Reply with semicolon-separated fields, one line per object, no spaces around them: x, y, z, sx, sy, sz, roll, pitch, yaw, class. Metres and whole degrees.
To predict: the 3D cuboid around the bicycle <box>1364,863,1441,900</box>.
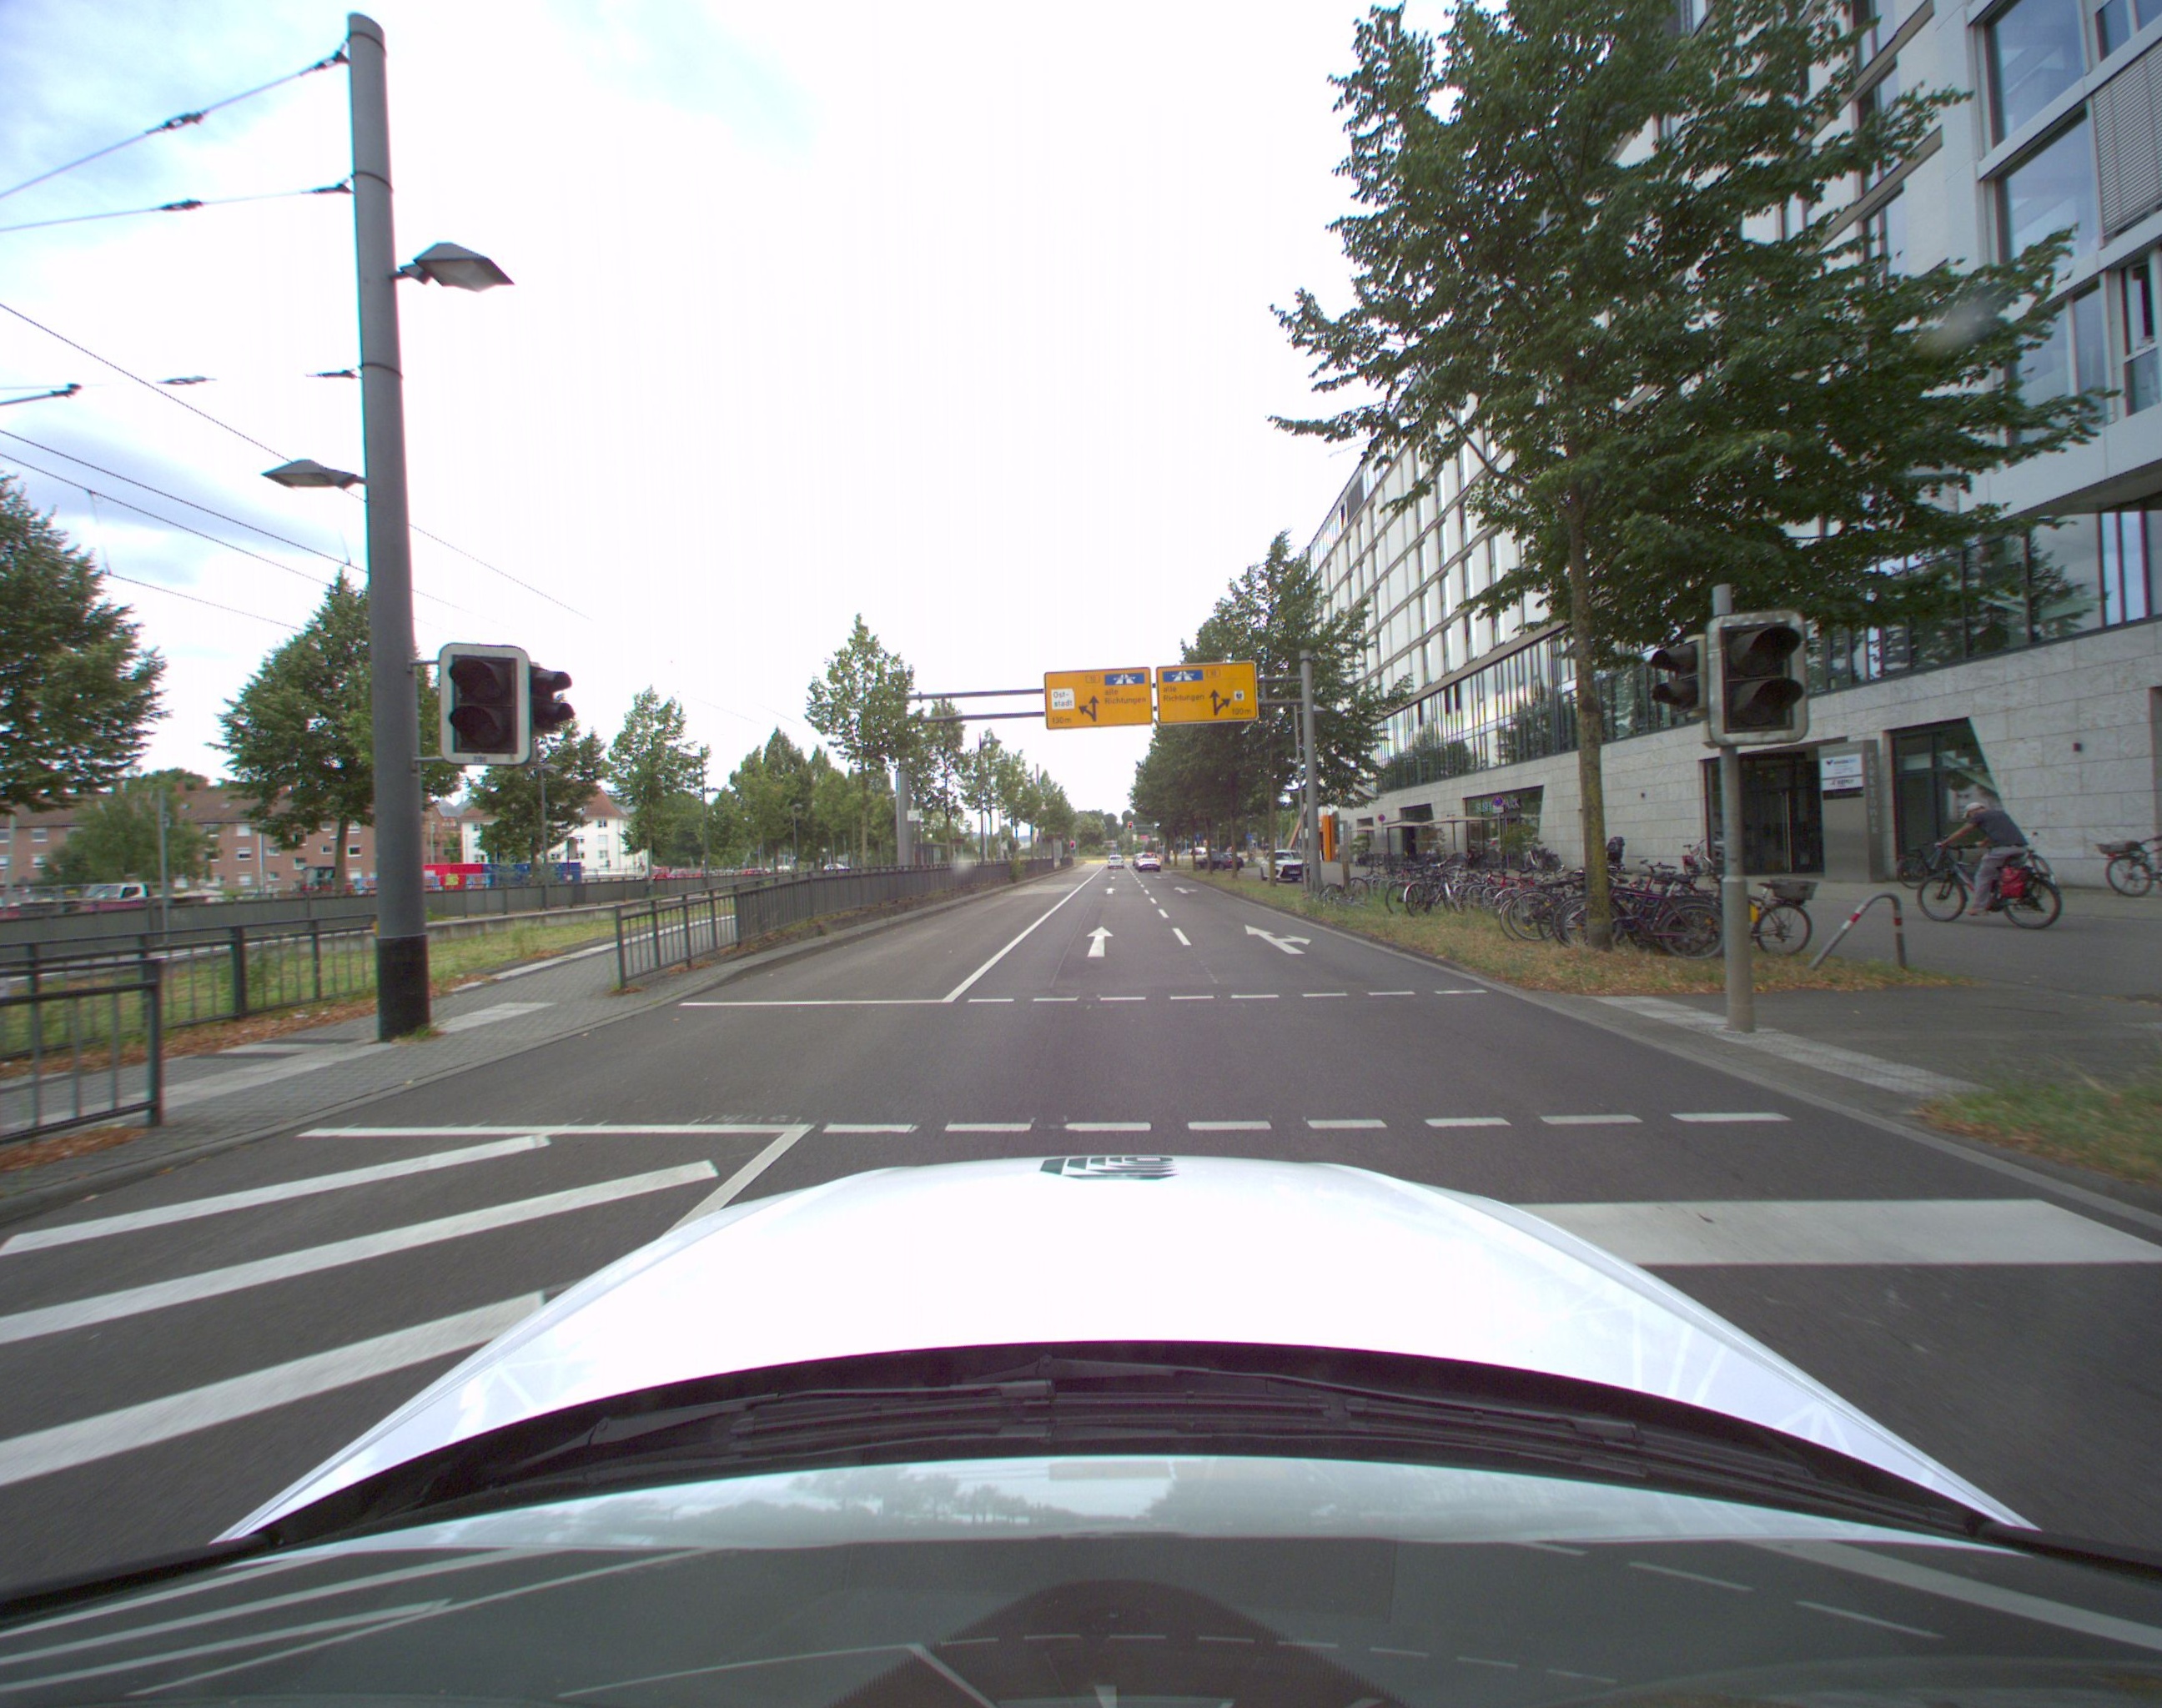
8.782;0.751;22.272;1.855;0.951;0.612;1;0;-1;bicycle

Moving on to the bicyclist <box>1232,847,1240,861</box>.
20.485;0.048;107.501;0.863;1.789;1.175;-2;0;1;bicyclist

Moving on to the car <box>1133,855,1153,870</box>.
6.427;0.879;84.409;1.781;1.432;4.311;-2;0;1;car

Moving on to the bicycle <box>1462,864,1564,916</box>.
8.424;0.692;15.911;1.712;0.974;0.608;1;0;-6;bicycle

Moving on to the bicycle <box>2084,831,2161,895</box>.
18.282;0.142;13.949;1.524;1.026;0.533;-3;-1;-1;bicycle

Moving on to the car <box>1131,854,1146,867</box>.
7.057;0.789;100.125;1.619;1.448;3.911;-1;0;1;car

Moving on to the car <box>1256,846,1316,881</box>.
10.045;0.456;40.261;1.931;1.552;4.595;-2;0;2;car

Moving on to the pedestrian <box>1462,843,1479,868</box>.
19.638;0.077;41.048;0.712;1.192;0.763;-3;0;24;pedestrian

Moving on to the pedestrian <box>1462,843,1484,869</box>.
19.013;0.090;39.514;0.766;1.192;1.111;-3;0;17;pedestrian

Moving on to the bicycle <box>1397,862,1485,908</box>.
8.610;0.749;19.512;1.927;1.065;0.542;1;0;-7;bicycle

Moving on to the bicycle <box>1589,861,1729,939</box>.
8.318;0.650;11.752;1.663;1.090;0.525;0;0;-1;bicycle

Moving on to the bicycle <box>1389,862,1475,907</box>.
8.646;0.753;20.091;1.927;1.065;0.542;1;0;-7;bicycle

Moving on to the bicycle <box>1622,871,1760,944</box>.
8.230;0.713;11.017;1.524;0.953;0.484;0;0;-1;bicycle

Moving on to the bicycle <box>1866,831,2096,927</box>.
13.409;0.349;12.281;0.899;1.235;2.269;-5;0;1;bicycle

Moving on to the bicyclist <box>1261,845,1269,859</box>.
21.349;-0.241;94.542;0.721;1.582;0.990;-2;0;3;bicyclist

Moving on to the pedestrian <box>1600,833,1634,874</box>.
18.991;-0.005;28.869;0.752;1.407;0.723;-3;0;9;pedestrian

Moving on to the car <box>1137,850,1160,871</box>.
5.743;0.549;69.796;1.771;1.656;4.026;-3;0;3;car

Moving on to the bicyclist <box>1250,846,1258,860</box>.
20.170;-0.097;95.188;0.722;1.582;0.990;-2;0;2;bicyclist

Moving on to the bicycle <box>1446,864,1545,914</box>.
8.417;0.699;16.562;1.741;0.974;0.608;1;0;-6;bicycle

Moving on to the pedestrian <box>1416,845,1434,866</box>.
20.100;0.107;47.604;0.716;1.192;0.759;-3;0;1;pedestrian

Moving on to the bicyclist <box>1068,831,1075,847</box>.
-1.252;-1.872;103.625;0.727;1.882;0.734;-4;14;-6;bicyclist

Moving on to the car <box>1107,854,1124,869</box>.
3.740;0.801;89.162;1.767;1.448;3.911;-2;0;1;car

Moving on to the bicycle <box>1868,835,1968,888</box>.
18.100;0.158;17.621;1.593;1.026;0.533;-3;0;-1;bicycle

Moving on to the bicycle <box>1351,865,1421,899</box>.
8.888;0.806;23.760;1.855;0.951;0.501;1;0;-1;bicycle

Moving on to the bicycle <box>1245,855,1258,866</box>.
15.702;0.574;74.956;0.628;0.956;2.106;-2;0;-2;bicycle

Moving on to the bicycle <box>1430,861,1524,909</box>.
8.454;0.660;17.401;1.741;0.974;0.608;1;0;-6;bicycle

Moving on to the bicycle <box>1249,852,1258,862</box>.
20.187;0.344;95.368;0.670;1.143;2.008;-2;0;3;bicycle

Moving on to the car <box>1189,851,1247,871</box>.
11.114;0.613;66.353;1.954;1.475;4.820;-2;0;-32;car

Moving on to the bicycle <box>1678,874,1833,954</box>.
8.456;0.741;10.239;1.524;0.953;0.552;0;0;-1;bicycle

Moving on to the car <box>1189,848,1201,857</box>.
24.209;-0.268;173.002;1.988;1.791;3.998;0;-1;-1;car

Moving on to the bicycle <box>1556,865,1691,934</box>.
8.361;0.681;12.581;1.770;1.012;0.609;0;0;-6;bicycle

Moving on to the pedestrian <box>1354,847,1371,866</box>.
19.453;0.171;56.248;0.893;1.228;0.952;-3;0;7;pedestrian

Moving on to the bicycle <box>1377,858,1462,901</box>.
8.634;0.649;20.823;1.924;1.065;0.641;1;0;-1;bicycle

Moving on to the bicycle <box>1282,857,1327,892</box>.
7.439;0.657;27.221;0.709;1.115;2.199;1;0;-5;bicycle

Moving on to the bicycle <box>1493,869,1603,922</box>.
8.368;0.732;14.617;1.712;0.906;0.587;1;0;-6;bicycle

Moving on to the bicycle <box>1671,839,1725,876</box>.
18.920;0.097;24.961;1.605;1.026;0.605;-3;0;-25;bicycle

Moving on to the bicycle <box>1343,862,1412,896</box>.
8.892;0.741;24.427;1.855;0.995;0.574;1;0;-1;bicycle

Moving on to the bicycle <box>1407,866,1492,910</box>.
8.525;0.788;18.867;1.741;0.974;0.608;1;0;-6;bicycle

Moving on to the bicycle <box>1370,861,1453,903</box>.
8.740;0.735;21.580;1.924;1.065;0.705;1;0;-1;bicycle

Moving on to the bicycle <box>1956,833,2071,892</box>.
18.053;0.158;15.776;1.593;1.026;0.533;-3;0;-1;bicycle

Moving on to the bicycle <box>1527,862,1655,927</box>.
8.300;0.656;13.276;1.770;1.012;0.609;1;0;-6;bicycle

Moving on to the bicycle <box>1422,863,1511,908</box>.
8.625;0.698;18.244;1.741;0.974;0.608;1;0;-6;bicycle

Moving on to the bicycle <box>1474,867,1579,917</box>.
8.331;0.708;15.253;1.712;0.906;0.587;1;0;-6;bicycle

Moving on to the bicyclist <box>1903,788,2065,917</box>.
13.308;-0.023;12.051;0.993;1.737;1.129;-5;0;1;bicyclist

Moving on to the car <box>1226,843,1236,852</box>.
30.780;-1.288;167.063;1.771;1.636;4.417;-2;1;12;car

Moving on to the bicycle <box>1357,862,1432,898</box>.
8.848;0.727;23.012;1.855;0.951;0.652;1;0;-1;bicycle

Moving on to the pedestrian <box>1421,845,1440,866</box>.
20.051;0.100;46.754;0.715;1.192;0.760;-3;0;4;pedestrian

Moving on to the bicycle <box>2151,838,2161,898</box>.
18.211;0.192;13.009;1.524;0.953;0.533;-3;0;-1;bicycle

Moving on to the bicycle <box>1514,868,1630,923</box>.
8.423;0.713;14.001;1.712;0.906;0.587;1;0;-6;bicycle
